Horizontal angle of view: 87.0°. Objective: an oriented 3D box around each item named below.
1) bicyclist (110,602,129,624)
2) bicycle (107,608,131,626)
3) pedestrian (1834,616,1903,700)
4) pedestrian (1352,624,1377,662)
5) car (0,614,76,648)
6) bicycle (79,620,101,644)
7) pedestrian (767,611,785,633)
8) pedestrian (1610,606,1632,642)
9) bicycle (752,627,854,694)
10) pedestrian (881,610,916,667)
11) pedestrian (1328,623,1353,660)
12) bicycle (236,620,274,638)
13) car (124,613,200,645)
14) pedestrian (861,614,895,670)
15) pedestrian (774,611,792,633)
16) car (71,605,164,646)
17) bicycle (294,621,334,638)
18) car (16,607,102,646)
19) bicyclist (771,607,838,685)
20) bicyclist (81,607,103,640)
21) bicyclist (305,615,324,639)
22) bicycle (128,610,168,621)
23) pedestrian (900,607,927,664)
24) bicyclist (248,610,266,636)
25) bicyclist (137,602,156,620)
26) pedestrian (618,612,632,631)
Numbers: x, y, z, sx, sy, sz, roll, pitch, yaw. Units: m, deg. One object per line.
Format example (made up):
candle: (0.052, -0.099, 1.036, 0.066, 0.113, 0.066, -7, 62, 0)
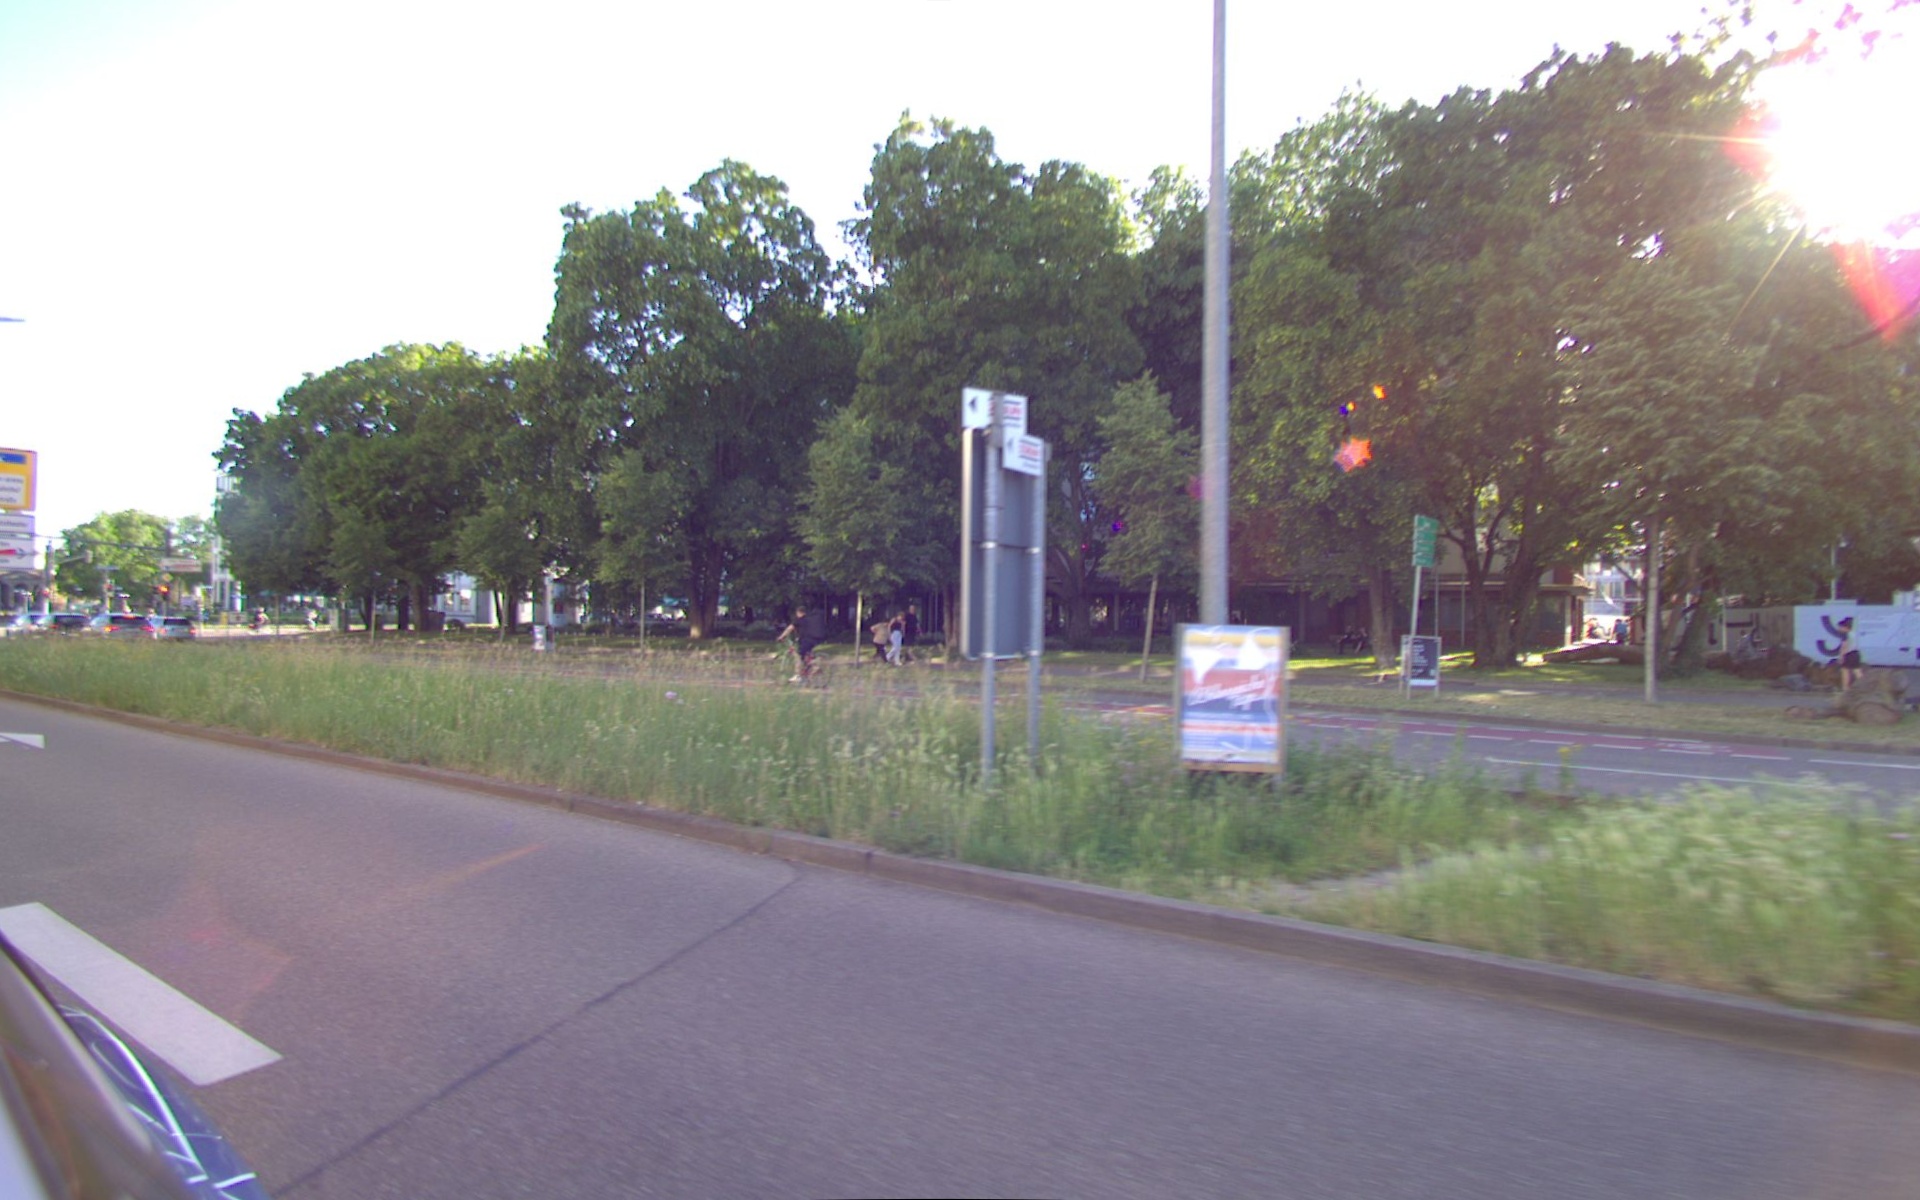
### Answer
bicyclist: (-61.320, 0.947, 73.817, 0.837, 1.631, 0.976, 1, -1, -25)
bicycle: (-61.337, 1.238, 73.851, 0.832, 1.240, 2.021, 1, -1, -25)
pedestrian: (17.168, 1.084, 19.150, 0.942, 1.539, 0.606, -1, -2, 41)
pedestrian: (17.020, 1.785, 42.577, 0.890, 1.552, 0.896, 0, -1, 29)
car: (-44.614, 1.465, 48.833, 4.540, 1.572, 1.976, -1, -2, 36)
bicycle: (-45.553, 1.676, 52.998, 0.766, 1.249, 2.253, 2, -2, -39)
pedestrian: (-11.552, 1.368, 63.555, 0.664, 1.350, 0.897, 0, -1, 38)
pedestrian: (30.130, 1.092, 46.102, 0.744, 1.653, 0.716, -1, -1, 41)
bicycle: (-3.391, 1.268, 21.781, 2.254, 1.285, 0.751, 2, -1, 36)
pedestrian: (-1.904, 1.176, 31.267, 0.760, 1.753, 0.763, 0, -1, 39)
pedestrian: (16.198, 1.756, 43.090, 0.890, 1.552, 0.896, 0, -1, 29)
bicycle: (-49.459, 2.038, 71.029, 0.776, 1.249, 1.997, 2, 0, 35)
car: (-40.855, 1.465, 51.784, 4.579, 1.538, 1.915, -1, -2, 37)
pedestrian: (-2.485, 1.260, 30.692, 0.725, 1.653, 0.735, 0, -1, 39)
pedestrian: (-11.025, 1.379, 63.098, 0.715, 1.350, 0.818, 0, -1, 39)
car: (-34.296, 1.001, 41.157, 4.052, 1.576, 1.976, 0, -1, 36)
bicycle: (-47.401, 2.166, 74.293, 0.776, 1.249, 2.284, 2, 0, 35)
car: (-40.395, 1.161, 45.345, 4.540, 1.688, 1.976, 0, -1, 36)
bicyclist: (-3.345, 0.970, 21.762, 1.200, 1.602, 0.740, 2, -1, 36)
bicyclist: (-45.403, 1.247, 52.944, 0.771, 1.691, 0.840, 3, -2, -40)
bicyclist: (-47.378, 1.990, 74.324, 0.774, 1.703, 0.914, 2, 0, 35)
bicycle: (-63.775, 1.246, 79.465, 0.842, 0.858, 2.305, 0, -1, 38)
pedestrian: (-1.454, 1.110, 31.805, 0.654, 1.753, 0.519, 0, -1, 40)
bicyclist: (-49.392, 1.619, 71.110, 0.753, 1.756, 0.829, 2, -1, 35)
bicyclist: (-63.844, 0.871, 79.398, 0.826, 1.372, 0.960, 0, -1, 39)
pedestrian: (-23.958, 1.551, 72.298, 0.599, 1.350, 0.724, 0, -1, 39)
